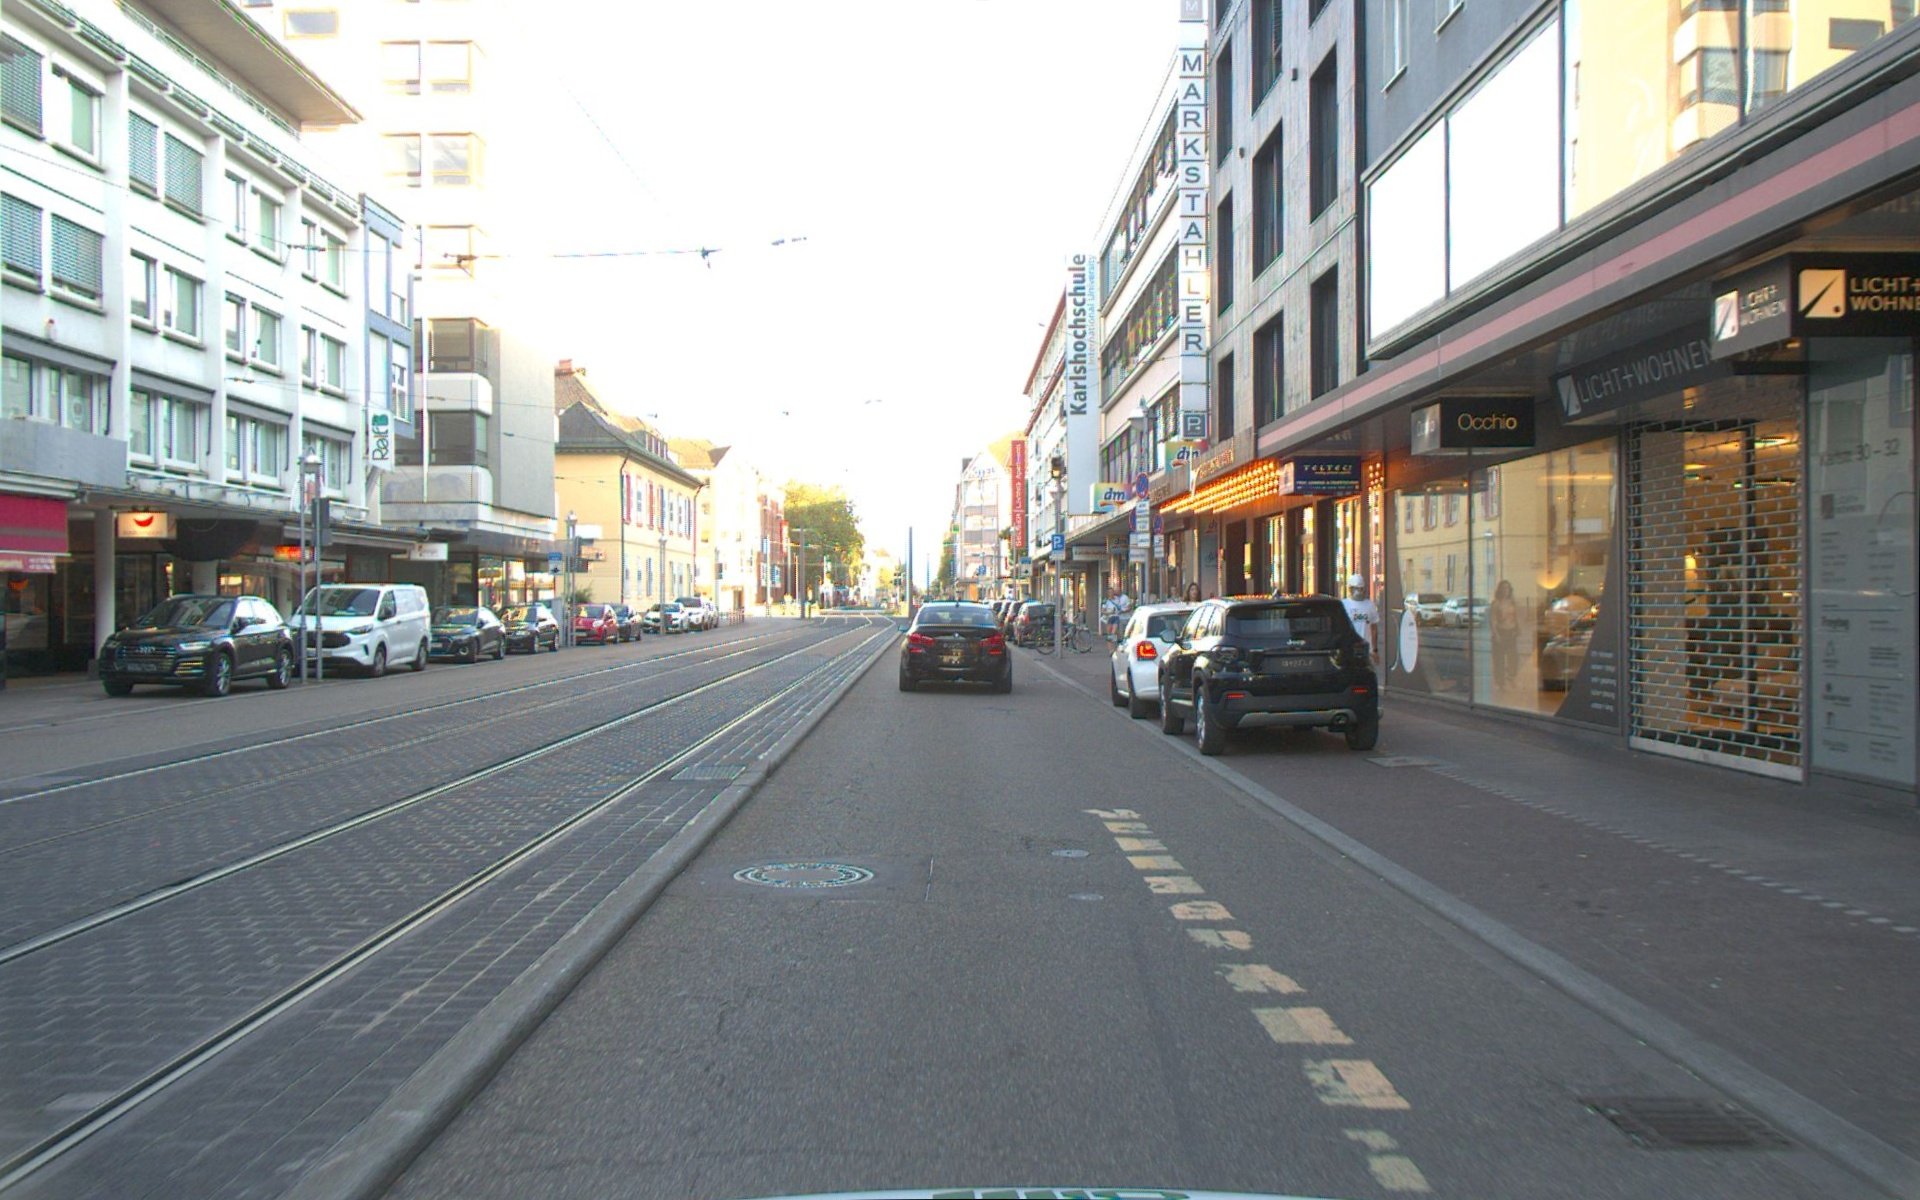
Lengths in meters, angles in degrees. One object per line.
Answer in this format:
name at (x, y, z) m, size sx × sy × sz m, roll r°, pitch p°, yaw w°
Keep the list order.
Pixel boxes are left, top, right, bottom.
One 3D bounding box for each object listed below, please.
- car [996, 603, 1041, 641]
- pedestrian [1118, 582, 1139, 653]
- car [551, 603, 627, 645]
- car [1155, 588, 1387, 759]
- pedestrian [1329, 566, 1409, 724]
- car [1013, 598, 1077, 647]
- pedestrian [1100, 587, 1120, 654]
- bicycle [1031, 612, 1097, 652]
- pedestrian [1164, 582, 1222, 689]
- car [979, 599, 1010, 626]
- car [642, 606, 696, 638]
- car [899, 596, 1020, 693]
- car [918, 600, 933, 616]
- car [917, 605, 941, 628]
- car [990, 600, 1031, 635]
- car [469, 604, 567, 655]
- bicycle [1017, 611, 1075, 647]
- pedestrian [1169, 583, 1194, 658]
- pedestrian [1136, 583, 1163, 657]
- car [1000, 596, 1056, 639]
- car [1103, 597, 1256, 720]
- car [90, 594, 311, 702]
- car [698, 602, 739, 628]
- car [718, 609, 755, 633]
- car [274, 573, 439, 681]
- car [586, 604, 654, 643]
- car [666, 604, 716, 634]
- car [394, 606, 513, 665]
car at (2.519, 0.952, 71.806) m, size 1.738 × 1.576 × 3.502 m, roll 0°, pitch -1°, yaw -1°
pedestrian at (4.398, 0.447, 43.259) m, size 0.478 × 1.821 × 0.760 m, roll -1°, pitch 0°, yaw 3°
car at (-13.618, 0.861, 60.947) m, size 1.889 × 1.460 × 4.245 m, roll 1°, pitch 0°, yaw -1°
car at (3.179, 0.694, 17.617) m, size 1.621 × 1.564 × 3.884 m, roll -2°, pitch 0°, yaw -1°
pedestrian at (4.738, 0.512, 19.197) m, size 0.674 × 1.771 × 0.820 m, roll -2°, pitch 0°, yaw 0°
car at (2.827, 0.756, 55.600) m, size 1.864 × 1.576 × 3.999 m, roll 0°, pitch -1°, yaw -1°
pedestrian at (3.926, 0.532, 43.278) m, size 0.465 × 1.729 × 0.752 m, roll -1°, pitch 0°, yaw 3°
bicycle at (2.929, 0.902, 46.522) m, size 1.823 × 1.099 × 0.468 m, roll 0°, pitch -1°, yaw 0°
pedestrian at (3.699, 0.555, 26.267) m, size 0.550 × 1.676 × 0.752 m, roll -1°, pitch 0°, yaw -29°
car at (2.054, 0.736, 98.550) m, size 1.738 × 1.576 × 3.502 m, roll 0°, pitch -1°, yaw -1°
car at (-13.949, 1.036, 79.464) m, size 1.889 × 1.460 × 4.245 m, roll -1°, pitch 0°, yaw -1°
car at (0.010, 0.711, 28.457) m, size 1.913 × 1.524 × 4.465 m, roll 0°, pitch 0°, yaw 0°
car at (-4.565, 1.044, 218.927) m, size 1.953 × 1.870 × 3.998 m, roll 0°, pitch -3°, yaw -1°
car at (-2.244, 1.200, 119.888) m, size 1.738 × 1.576 × 3.502 m, roll 0°, pitch -1°, yaw -1°
car at (2.339, 0.829, 77.112) m, size 1.738 × 1.576 × 3.502 m, roll 0°, pitch -1°, yaw -1°
car at (-13.530, 0.883, 50.831) m, size 1.889 × 1.460 × 4.245 m, roll 1°, pitch 0°, yaw -1°
bicycle at (2.715, 0.911, 52.311) m, size 1.823 × 1.139 × 0.468 m, roll 0°, pitch -1°, yaw 0°
pedestrian at (5.481, 0.502, 40.969) m, size 0.497 × 1.824 × 0.760 m, roll -1°, pitch 0°, yaw -1°
pedestrian at (4.742, 0.507, 41.338) m, size 0.542 × 1.823 × 0.759 m, roll -1°, pitch 0°, yaw -1°
car at (2.538, 0.675, 62.453) m, size 1.864 × 1.576 × 3.779 m, roll 0°, pitch -1°, yaw -1°
car at (2.928, 0.736, 22.658) m, size 1.527 × 1.467 × 3.708 m, roll -3°, pitch 0°, yaw 0°
car at (-13.108, 0.775, 28.877) m, size 1.822 × 1.707 × 4.463 m, roll 1°, pitch 0°, yaw -1°
car at (-14.497, 0.882, 99.639) m, size 1.889 × 1.460 × 4.245 m, roll 1°, pitch 0°, yaw -1°
car at (-14.700, 1.367, 109.009) m, size 1.889 × 1.460 × 4.245 m, roll 1°, pitch 0°, yaw -1°
car at (-13.205, 0.556, 36.522) m, size 1.953 × 2.194 × 4.909 m, roll 0°, pitch 0°, yaw -2°
car at (-13.530, 0.926, 66.000) m, size 1.889 × 1.460 × 4.245 m, roll 1°, pitch 0°, yaw -1°
car at (-13.848, 0.962, 85.376) m, size 1.889 × 1.460 × 4.245 m, roll 1°, pitch 0°, yaw -1°
car at (-13.389, 0.895, 43.955) m, size 1.889 × 1.460 × 4.245 m, roll 1°, pitch 0°, yaw -1°
